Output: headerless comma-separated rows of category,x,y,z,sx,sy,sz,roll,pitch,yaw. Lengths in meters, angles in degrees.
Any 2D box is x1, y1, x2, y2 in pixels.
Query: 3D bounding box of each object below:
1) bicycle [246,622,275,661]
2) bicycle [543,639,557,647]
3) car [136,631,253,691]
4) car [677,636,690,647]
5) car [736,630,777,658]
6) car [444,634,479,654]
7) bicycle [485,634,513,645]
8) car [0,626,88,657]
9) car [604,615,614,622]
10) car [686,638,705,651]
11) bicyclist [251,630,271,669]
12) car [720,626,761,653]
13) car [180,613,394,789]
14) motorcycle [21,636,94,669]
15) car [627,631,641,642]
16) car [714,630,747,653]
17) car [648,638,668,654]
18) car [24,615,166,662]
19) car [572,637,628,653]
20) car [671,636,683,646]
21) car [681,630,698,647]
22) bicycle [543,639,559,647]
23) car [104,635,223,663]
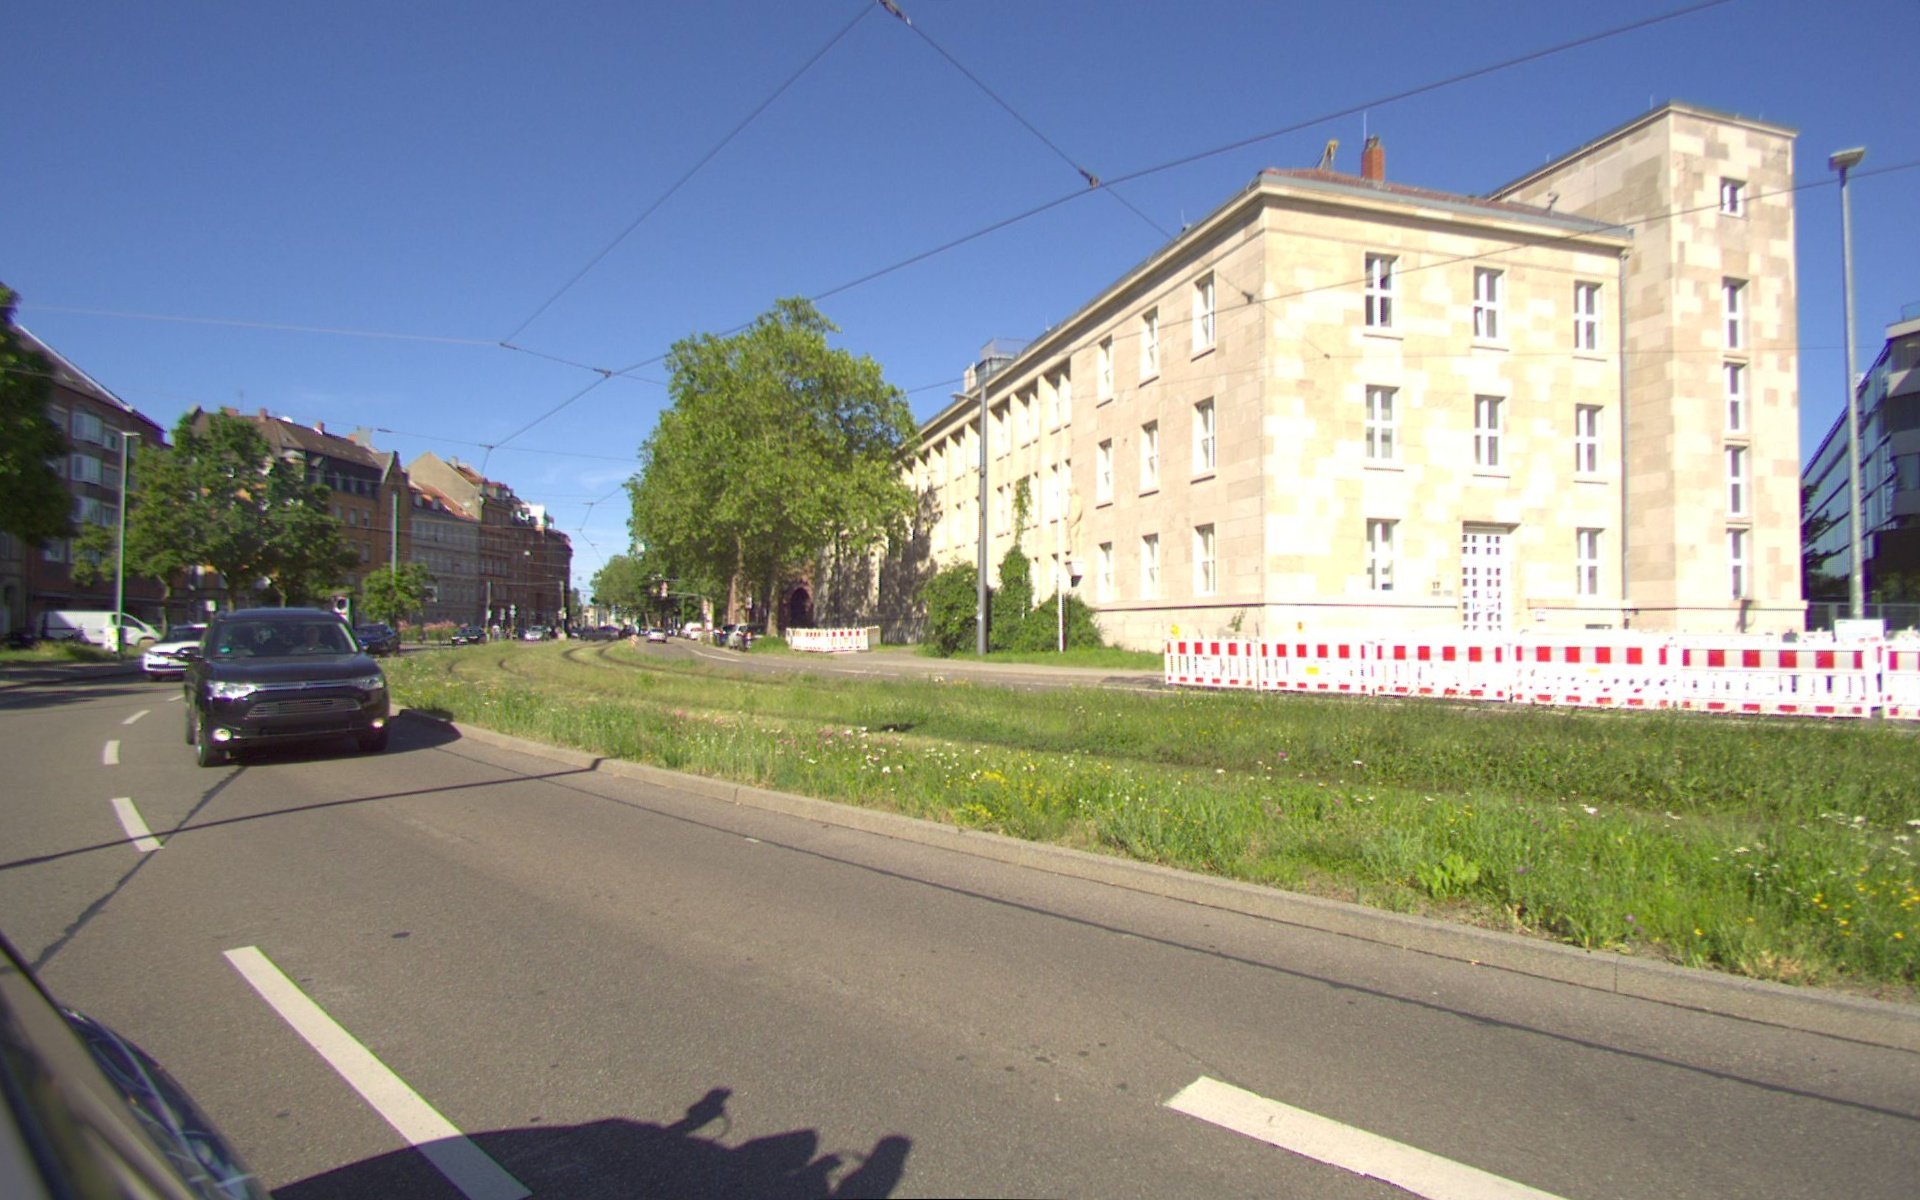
bicycle,-29.929,1.776,43.332,0.431,1.651,1.944,1,-3,-18
bicycle,-59.431,6.210,146.835,1.776,1.067,0.656,1,-2,-4
car,-22.757,1.759,30.264,1.771,1.648,4.408,1,-2,-24
car,-41.322,6.225,151.130,1.766,1.563,4.319,0,-2,-17
car,-11.194,2.387,55.434,1.804,1.504,4.194,0,-2,-17
car,-37.194,3.272,75.544,1.858,1.438,4.390,0,-2,-20
bicycle,-58.299,5.016,127.998,1.937,1.427,6.844,1,-2,-13
car,-52.154,2.323,57.556,1.967,1.485,4.502,-5,1,-15
car,-75.924,4.021,218.908,1.768,1.440,4.389,0,-2,-17
car,-31.850,5.351,121.645,1.750,1.586,3.689,1,-3,-21
bicyclist,-29.909,2.102,43.298,0.431,1.651,0.781,1,-3,-17
car,-13.440,2.422,61.737,1.804,1.600,4.409,2,-3,-21
car,-8.270,1.050,12.230,1.812,1.695,4.652,0,-2,-38
motorcycle,-40.523,2.371,45.481,0.849,1.431,2.244,-1,-4,23
car,-59.913,6.756,185.809,2.033,1.906,4.529,2,-3,-13
car,-16.573,2.978,72.887,1.804,1.651,4.409,1,-2,-19
car,-28.725,4.384,96.298,1.804,1.464,4.182,1,-3,-16
car,-41.534,1.890,48.729,2.018,2.091,4.818,-2,-4,38
car,-35.428,4.404,99.701,4.906,1.464,1.830,0,-3,10
car,-45.263,6.513,162.006,1.766,1.563,4.319,0,-2,-17
car,-35.095,4.974,131.214,1.889,2.113,4.606,0,-2,-19
bicycle,-58.709,6.148,145.230,1.893,1.146,0.845,1,-2,-2
car,-43.796,2.725,55.729,2.019,1.446,4.815,-2,-4,40
